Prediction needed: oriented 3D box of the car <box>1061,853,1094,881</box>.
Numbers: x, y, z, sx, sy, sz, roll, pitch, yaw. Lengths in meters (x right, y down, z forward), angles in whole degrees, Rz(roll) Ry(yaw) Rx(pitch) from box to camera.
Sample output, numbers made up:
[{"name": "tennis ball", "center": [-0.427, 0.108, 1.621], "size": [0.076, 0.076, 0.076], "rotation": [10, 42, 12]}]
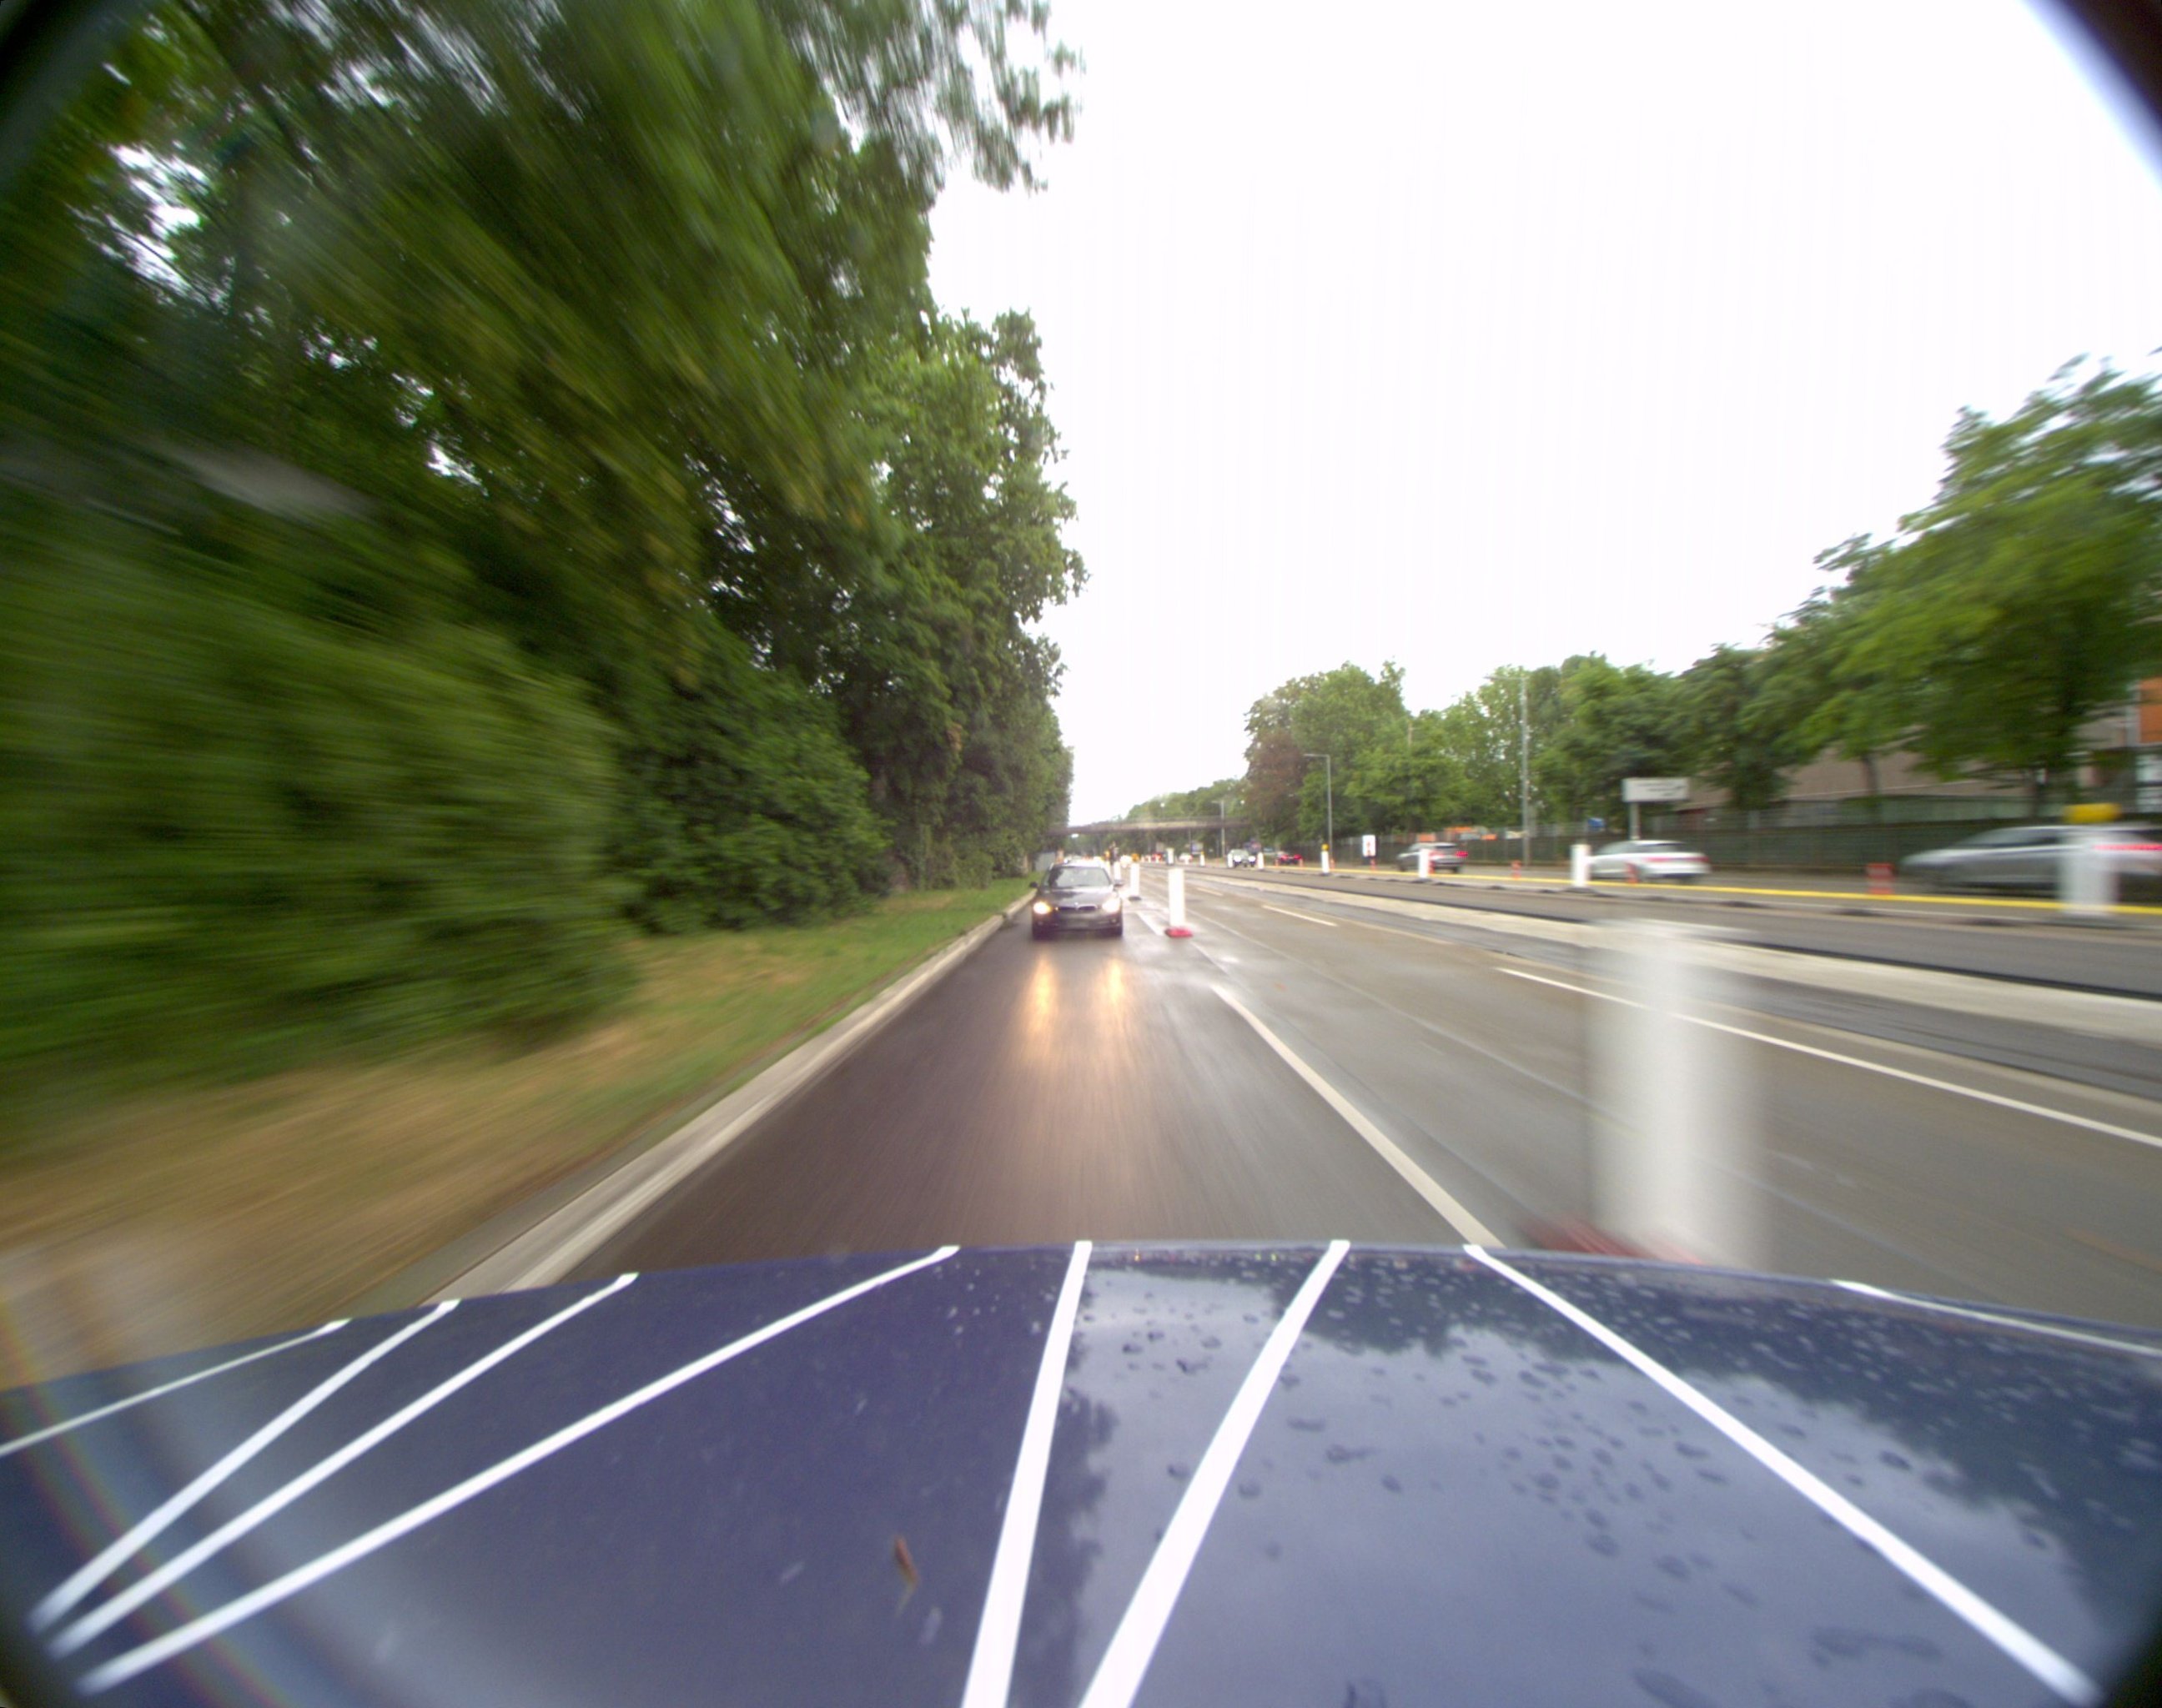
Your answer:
[{"name": "car", "center": [-0.217, 0.819, 50.909], "size": [1.998, 1.650, 4.229], "rotation": [-3, 1, 0]}]

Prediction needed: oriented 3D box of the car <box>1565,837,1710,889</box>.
[{"name": "car", "center": [18.178, 0.254, 25.079], "size": [1.808, 1.525, 3.991], "rotation": [-3, 1, 0]}]

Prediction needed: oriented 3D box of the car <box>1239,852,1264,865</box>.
[{"name": "car", "center": [20.953, 0.551, 93.644], "size": [1.999, 1.421, 4.264], "rotation": [-2, 0, -1]}]

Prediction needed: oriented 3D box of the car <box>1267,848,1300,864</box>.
[{"name": "car", "center": [20.717, 0.171, 77.970], "size": [2.051, 1.446, 4.764], "rotation": [-3, 1, 0]}]

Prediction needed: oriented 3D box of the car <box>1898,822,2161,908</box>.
[{"name": "car", "center": [20.853, 0.169, 16.360], "size": [1.998, 1.577, 4.178], "rotation": [-3, 1, 0]}]

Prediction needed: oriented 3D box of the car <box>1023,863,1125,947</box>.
[{"name": "car", "center": [-0.177, 0.973, 16.088], "size": [1.838, 1.397, 3.999], "rotation": [-3, 1, -1]}]

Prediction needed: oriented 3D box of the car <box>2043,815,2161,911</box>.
[{"name": "car", "center": [18.060, 0.118, 11.271], "size": [1.898, 1.493, 4.516], "rotation": [-3, 1, 2]}]

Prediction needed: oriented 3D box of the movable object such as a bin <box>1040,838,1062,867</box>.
[{"name": "movable object such as a bin", "center": [-4.267, -0.280, 109.108], "size": [2.890, 3.917, 6.104], "rotation": [-3, 1, -1]}]

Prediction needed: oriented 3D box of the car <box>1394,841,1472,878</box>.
[{"name": "car", "center": [18.414, 0.260, 40.004], "size": [1.993, 1.758, 4.674], "rotation": [-3, 1, 2]}]

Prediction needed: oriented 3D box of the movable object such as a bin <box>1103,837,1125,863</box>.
[{"name": "movable object such as a bin", "center": [6.106, -0.800, 141.128], "size": [3.527, 4.495, 10.068], "rotation": [-3, 1, 0]}]
